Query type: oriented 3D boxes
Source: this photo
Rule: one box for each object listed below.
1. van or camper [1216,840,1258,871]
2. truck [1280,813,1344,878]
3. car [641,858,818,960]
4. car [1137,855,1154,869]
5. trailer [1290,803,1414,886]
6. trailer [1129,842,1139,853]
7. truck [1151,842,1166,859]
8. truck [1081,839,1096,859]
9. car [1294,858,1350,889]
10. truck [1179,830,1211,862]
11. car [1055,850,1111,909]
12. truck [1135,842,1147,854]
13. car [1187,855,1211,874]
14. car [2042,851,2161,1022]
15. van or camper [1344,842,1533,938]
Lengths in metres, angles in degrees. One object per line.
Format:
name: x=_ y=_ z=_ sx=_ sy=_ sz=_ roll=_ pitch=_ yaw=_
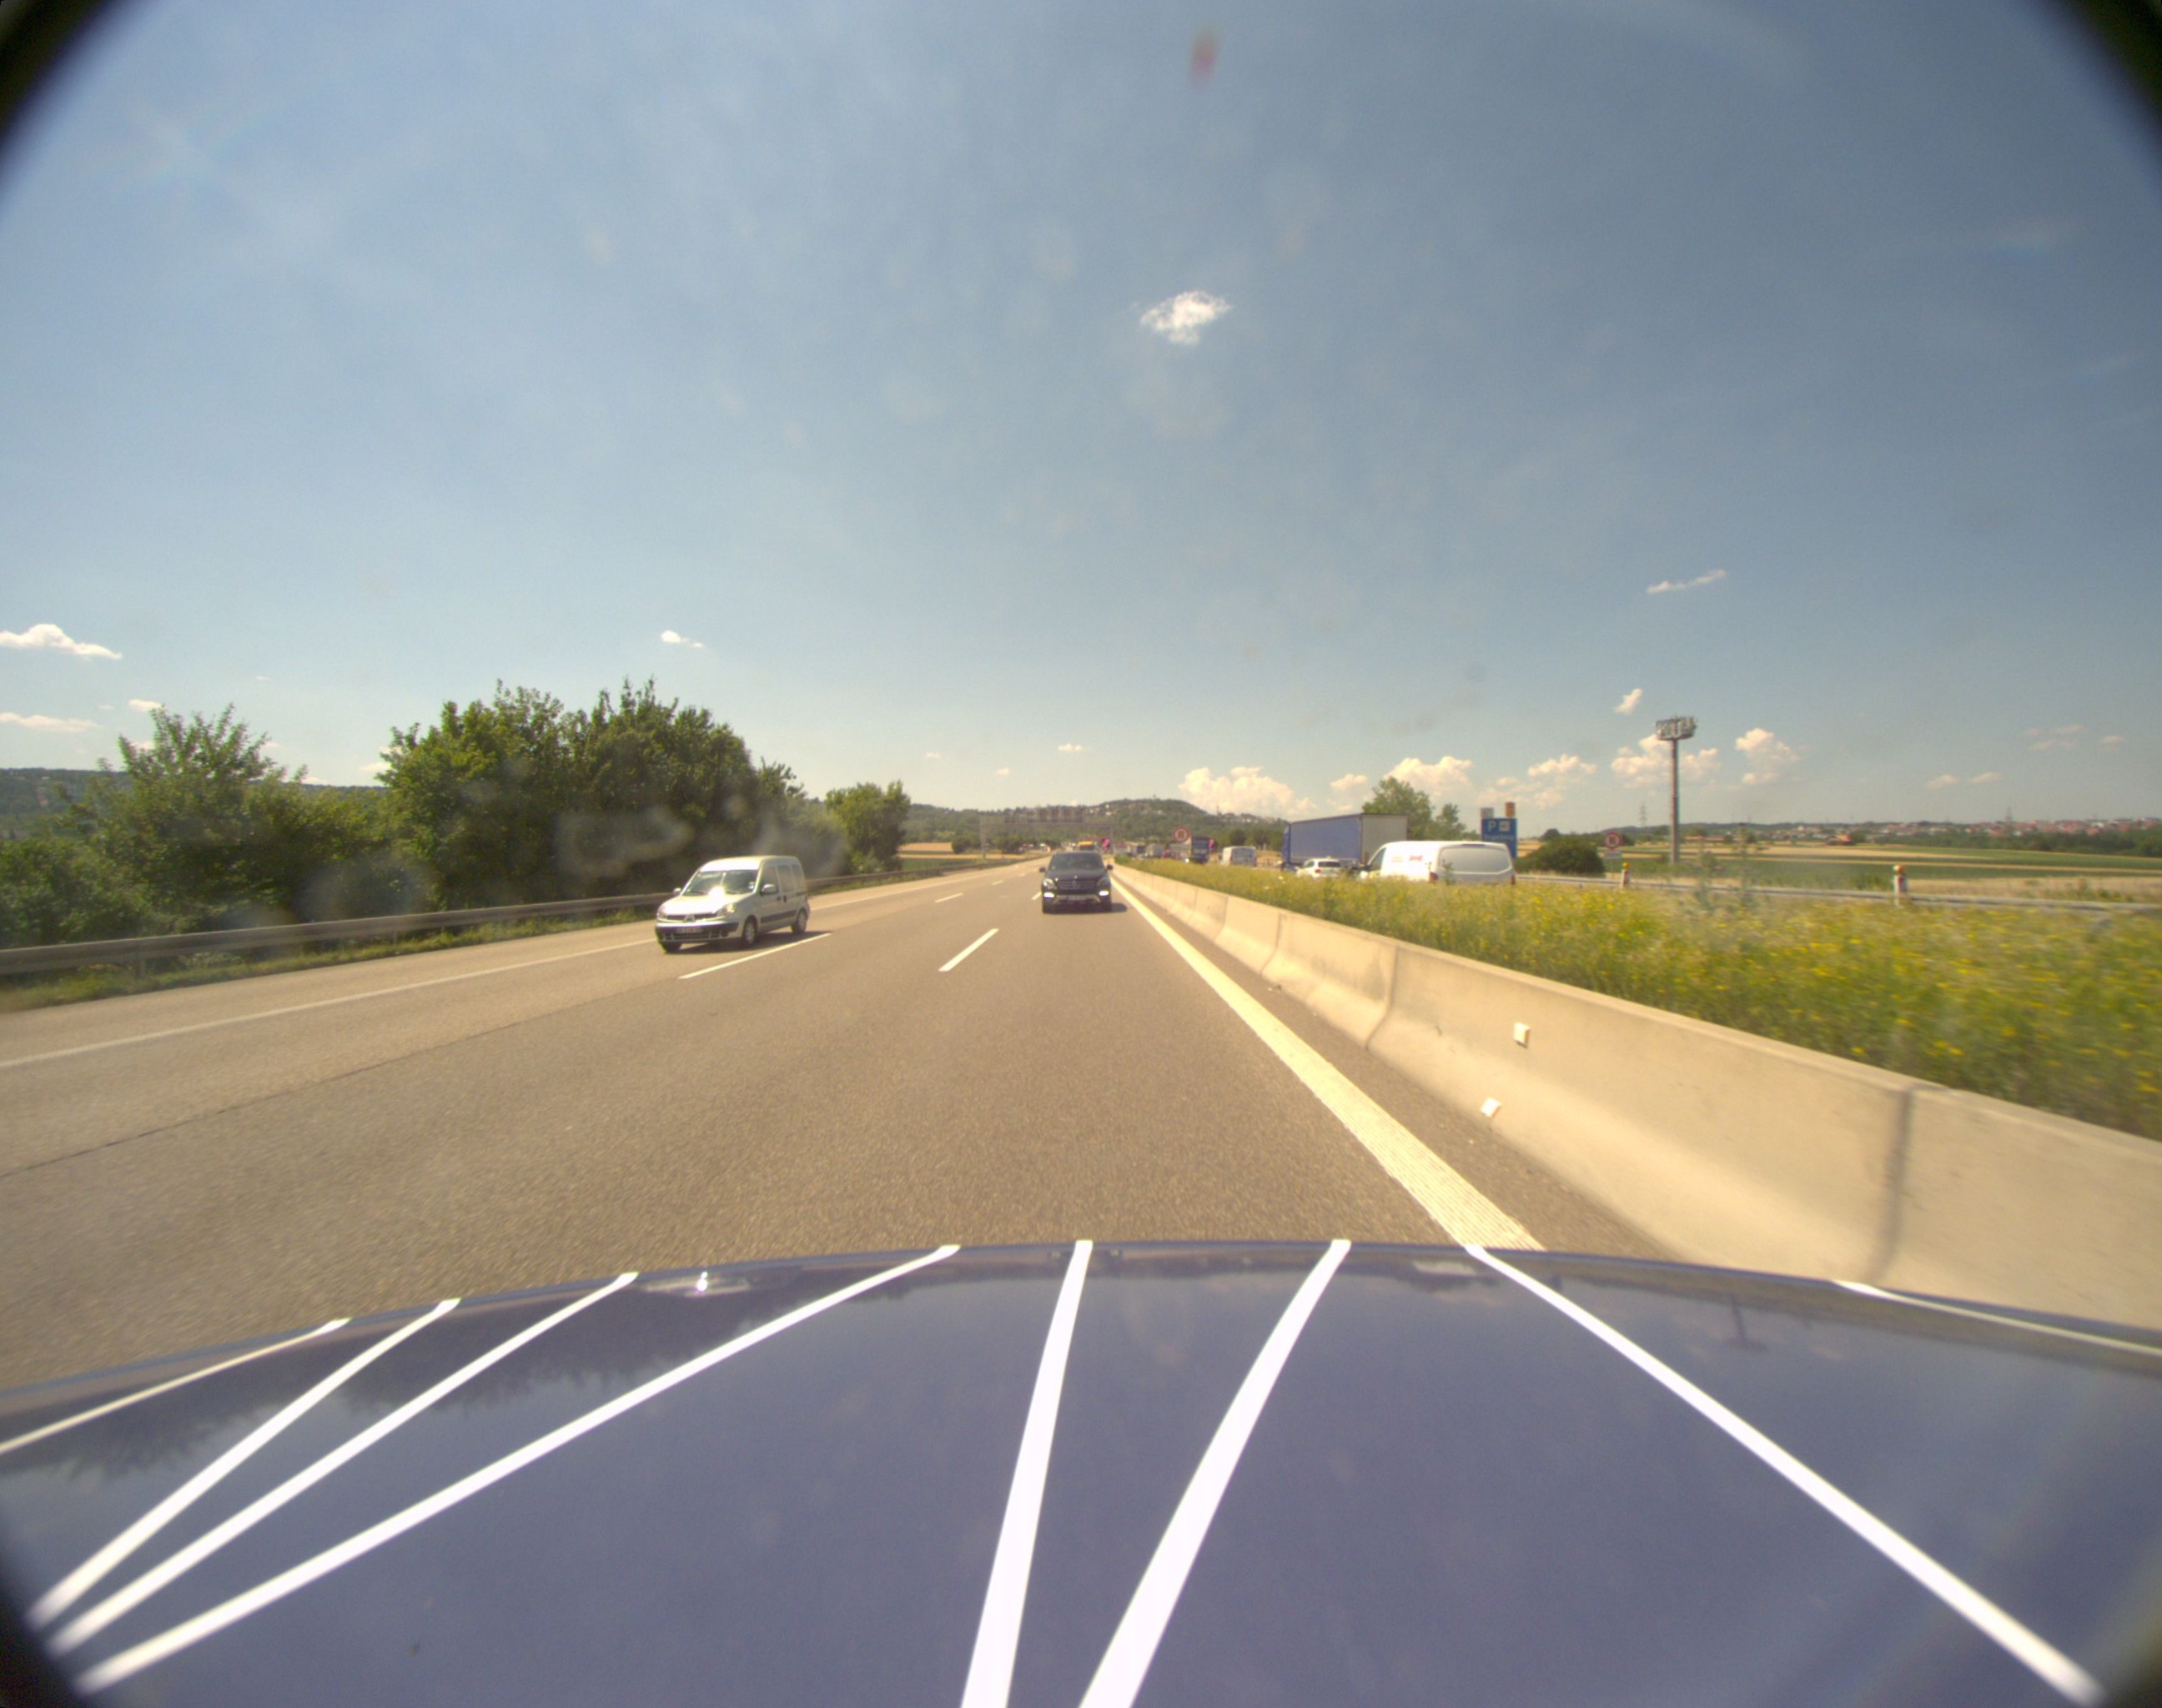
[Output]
van or camper: x=12.077 y=0.085 z=59.039 sx=2.099 sy=2.261 sz=5.493 roll=0 pitch=0 yaw=0
truck: x=16.120 y=-0.579 z=53.494 sx=2.872 sy=4.325 sz=5.586 roll=0 pitch=0 yaw=1
car: x=-6.911 y=0.988 z=15.438 sx=1.630 sy=1.727 sz=3.972 roll=-2 pitch=0 yaw=1
car: x=9.077 y=1.125 z=107.040 sx=1.998 sy=1.934 sz=4.794 roll=0 pitch=1 yaw=0
trailer: x=16.030 y=-0.525 z=46.579 sx=2.890 sy=4.325 sz=13.642 roll=0 pitch=0 yaw=1
trailer: x=18.712 y=-2.282 z=268.891 sx=2.817 sy=4.104 sz=14.128 roll=0 pitch=0 yaw=0
truck: x=17.027 y=-0.715 z=167.151 sx=2.706 sy=3.599 sz=8.787 roll=1 pitch=0 yaw=2
truck: x=1.328 y=-0.930 z=128.586 sx=2.272 sy=3.139 sz=8.185 roll=-2 pitch=1 yaw=1
car: x=12.141 y=0.935 z=38.537 sx=1.621 sy=1.455 sz=3.864 roll=0 pitch=0 yaw=0
truck: x=16.588 y=-1.164 z=111.920 sx=2.599 sy=4.214 sz=14.121 roll=2 pitch=1 yaw=0
car: x=0.113 y=0.762 z=24.473 sx=1.630 sy=1.711 sz=3.865 roll=-1 pitch=0 yaw=1
truck: x=17.855 y=-1.804 z=227.011 sx=2.983 sy=3.587 sz=9.993 roll=-1 pitch=0 yaw=0
car: x=9.075 y=0.790 z=58.557 sx=1.388 sy=1.460 sz=3.195 roll=0 pitch=0 yaw=0
car: x=11.782 y=0.832 z=6.510 sx=1.698 sy=1.717 sz=4.261 roll=-1 pitch=0 yaw=0
van or camper: x=8.146 y=0.722 z=17.993 sx=1.999 sy=1.922 sz=5.201 roll=-1 pitch=0 yaw=0
